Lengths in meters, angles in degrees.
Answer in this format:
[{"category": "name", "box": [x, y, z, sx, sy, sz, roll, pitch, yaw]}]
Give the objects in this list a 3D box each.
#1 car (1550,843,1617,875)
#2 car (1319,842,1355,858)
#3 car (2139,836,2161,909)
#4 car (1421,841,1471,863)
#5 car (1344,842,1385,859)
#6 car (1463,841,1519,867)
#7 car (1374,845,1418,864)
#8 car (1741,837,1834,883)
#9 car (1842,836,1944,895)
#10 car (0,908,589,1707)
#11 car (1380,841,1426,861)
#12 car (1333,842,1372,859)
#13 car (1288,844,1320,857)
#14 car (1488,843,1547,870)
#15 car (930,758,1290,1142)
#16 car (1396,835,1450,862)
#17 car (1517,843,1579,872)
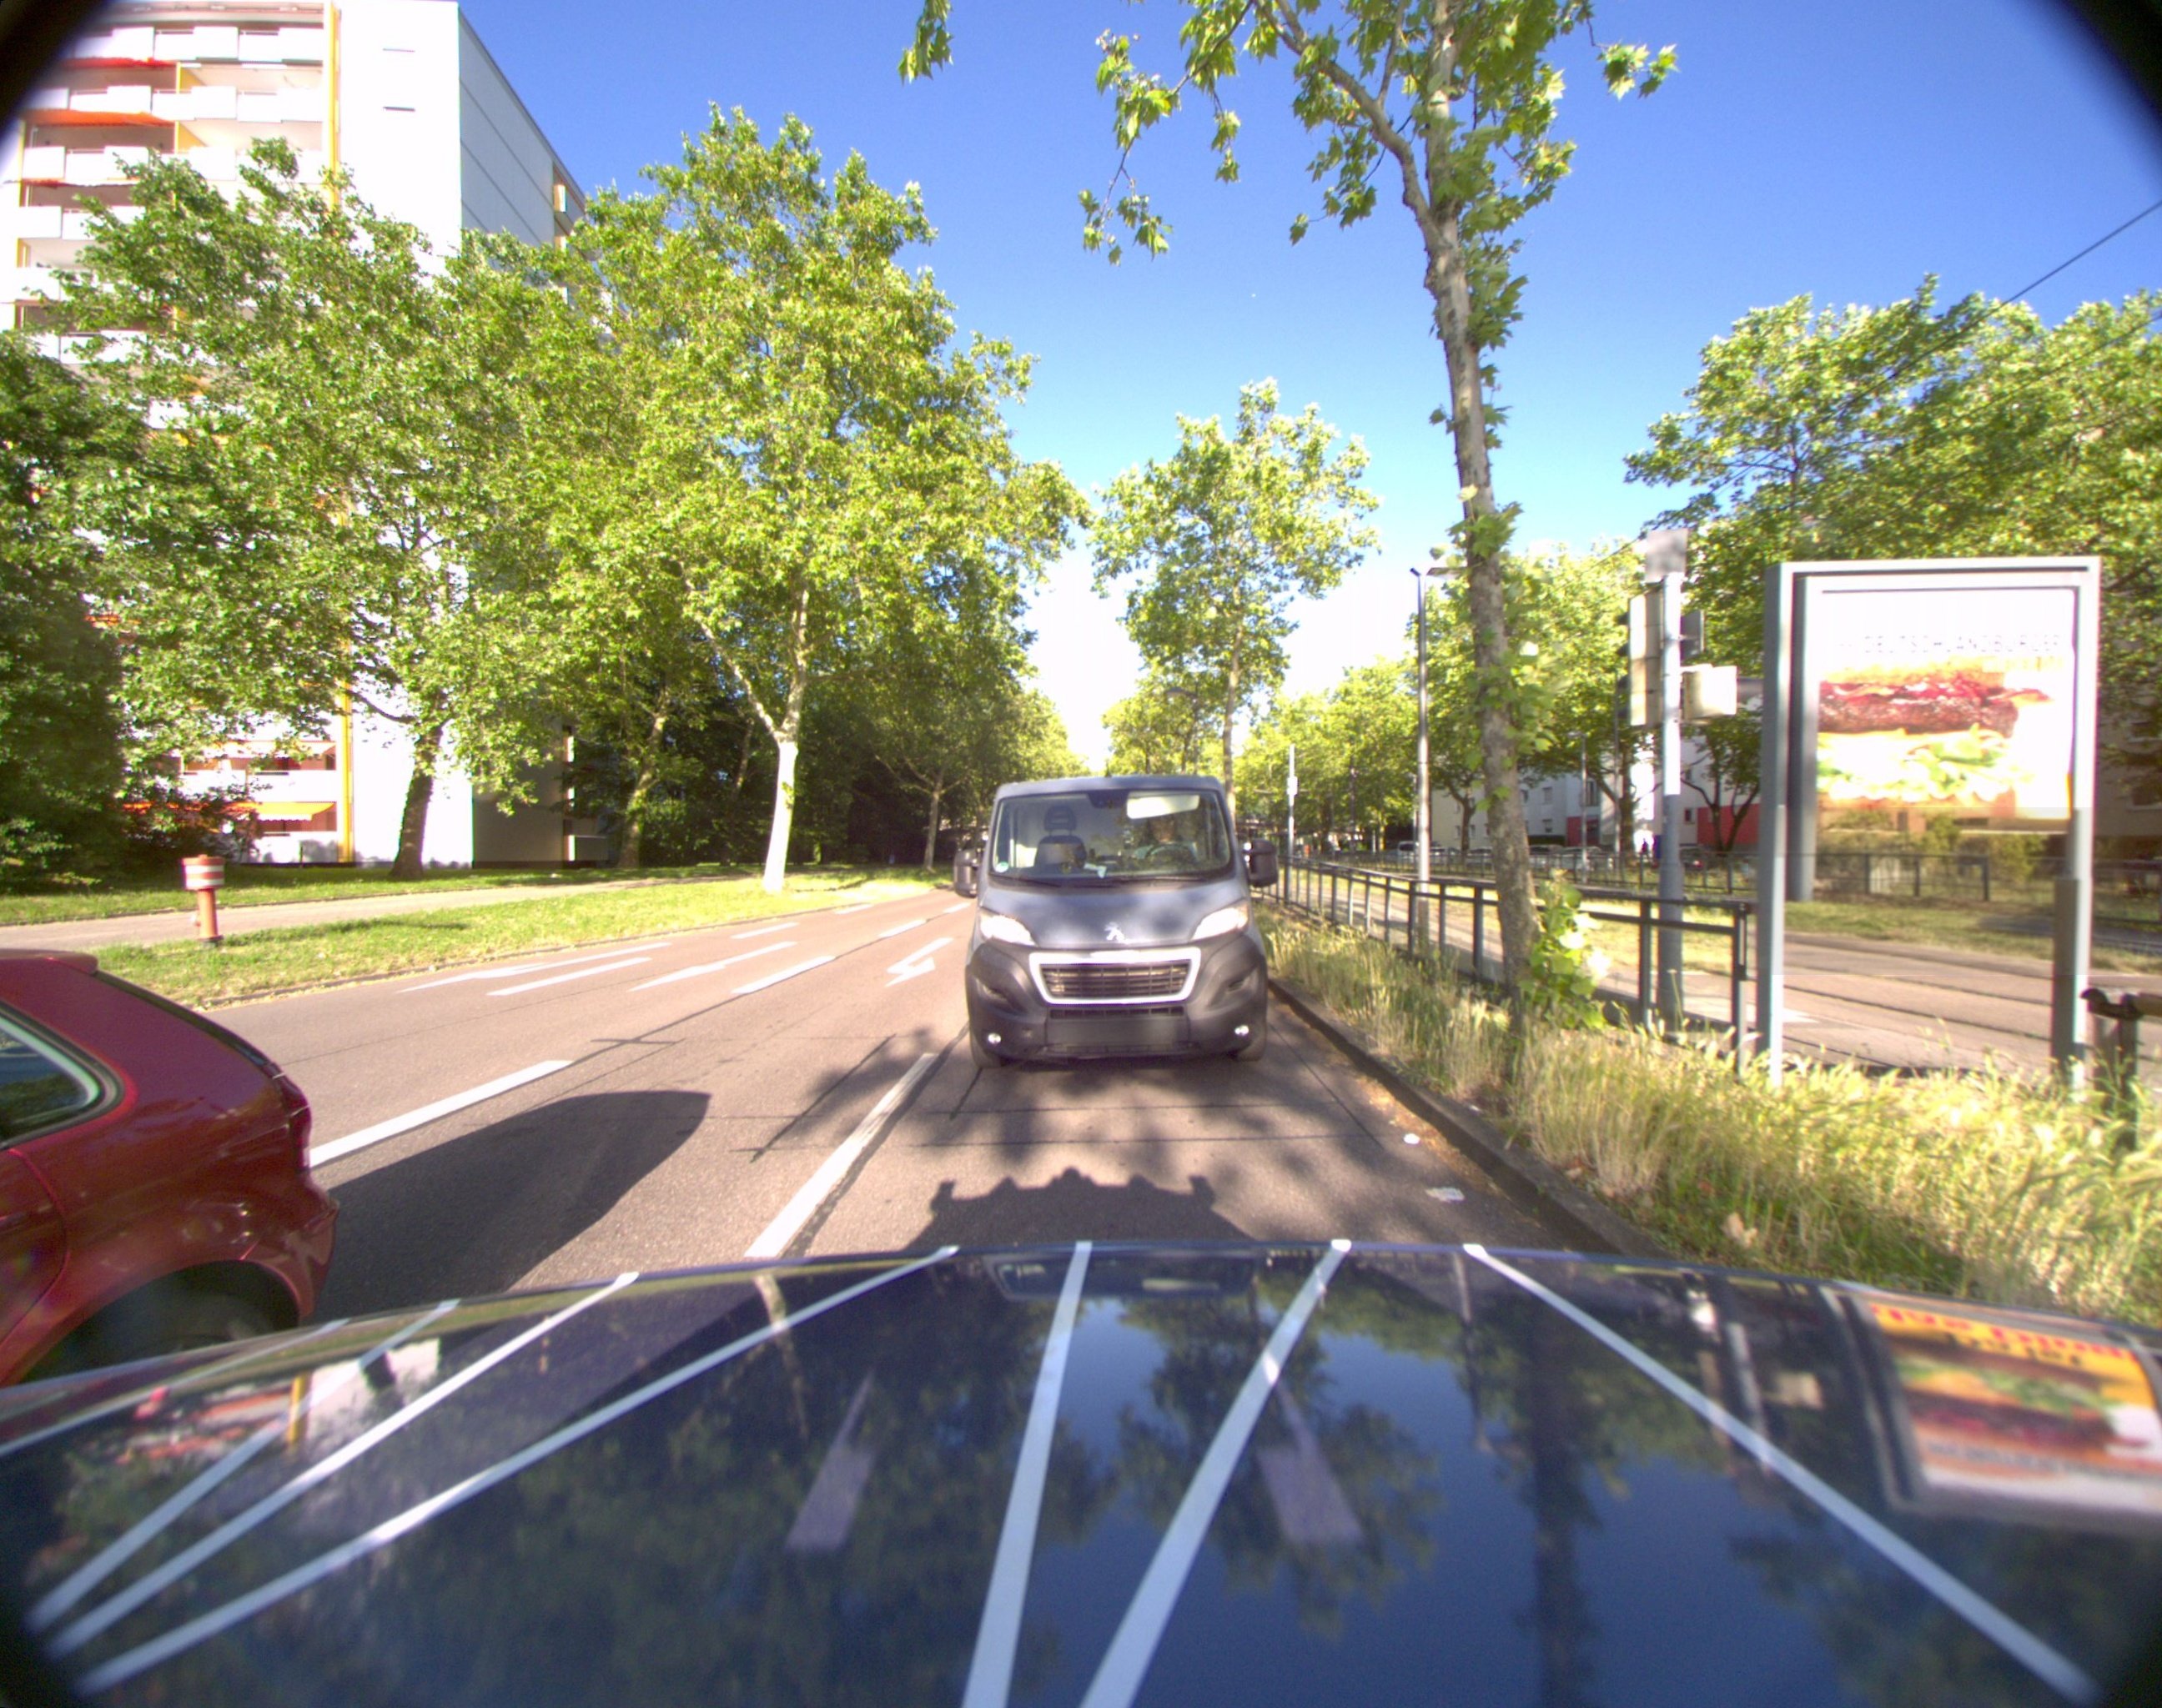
[{"category": "car", "box": [25.401, 0.237, 38.361, 4.057, 1.490, 1.791, -2, 0, -41]}, {"category": "car", "box": [26.922, -0.415, 79.800, 4.057, 1.490, 1.791, -2, 0, -41]}, {"category": "car", "box": [24.706, 0.353, 16.518, 4.057, 1.490, 1.791, -2, 0, -38]}, {"category": "car", "box": [26.239, -0.141, 54.546, 4.057, 1.490, 1.791, -2, 0, -41]}, {"category": "car", "box": [26.071, -0.321, 69.764, 4.057, 1.490, 1.791, -2, 0, -41]}, {"category": "car", "box": [25.997, -0.014, 48.121, 4.057, 1.490, 1.791, -2, 0, -41]}, {"category": "car", "box": [26.597, 0.016, 64.118, 4.057, 1.490, 1.791, -2, 0, -41]}, {"category": "car", "box": [25.254, 0.187, 27.123, 4.057, 1.490, 1.791, -2, 0, -38]}, {"category": "car", "box": [25.281, 0.330, 23.620, 4.057, 1.654, 1.791, -2, 0, -38]}, {"category": "car", "box": [-2.994, 1.011, 0.707, 1.771, 1.549, 4.727, -1, 0, 3]}, {"category": "car", "box": [25.806, -0.225, 60.827, 4.057, 1.490, 1.791, -2, 0, -41]}, {"category": "car", "box": [26.152, -0.344, 73.141, 4.057, 1.490, 1.791, -2, 0, -41]}, {"category": "car", "box": [26.587, -0.448, 90.498, 4.057, 1.490, 1.791, -2, 0, -41]}, {"category": "car", "box": [26.081, 0.140, 45.371, 4.057, 1.490, 1.791, -2, 0, -41]}, {"category": "car", "box": [0.208, 0.529, 7.219, 2.040, 2.191, 5.661, -1, 1, 1]}, {"category": "car", "box": [25.868, -0.414, 57.476, 4.441, 1.908, 2.016, -2, 0, -41]}, {"category": "car", "box": [25.934, 0.171, 42.175, 4.057, 1.490, 1.791, -2, 0, -41]}]
